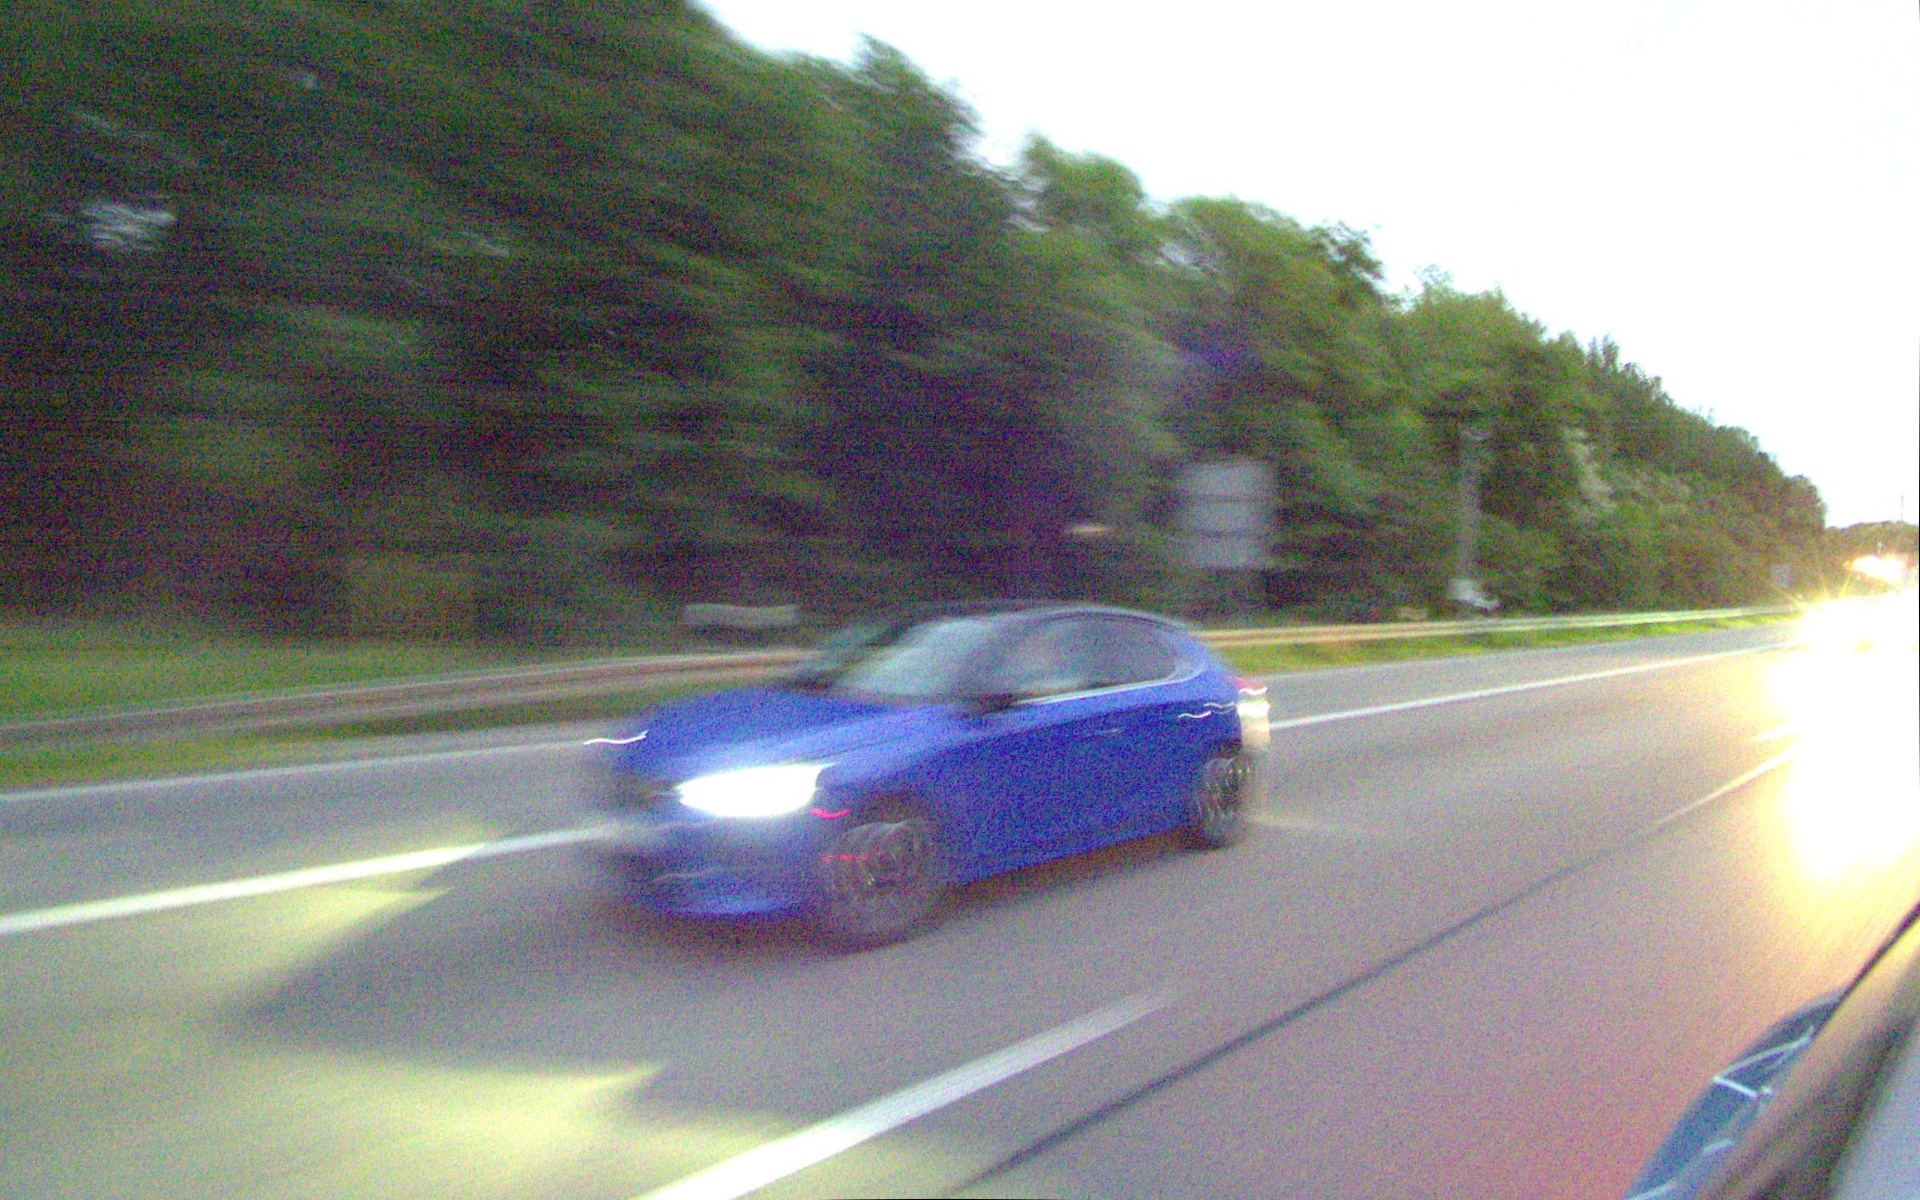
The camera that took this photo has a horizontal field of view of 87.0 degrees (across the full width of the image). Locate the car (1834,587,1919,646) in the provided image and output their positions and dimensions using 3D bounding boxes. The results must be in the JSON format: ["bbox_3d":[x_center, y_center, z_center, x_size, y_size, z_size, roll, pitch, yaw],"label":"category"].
[{"bbox_3d":[25.454,0.412,27.787,4.866,1.509,1.693,0,0,-43],"label":"car"}]

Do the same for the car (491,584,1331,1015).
[{"bbox_3d":[0.022,0.671,5.684,4.503,1.454,1.869,-1,1,-40],"label":"car"}]
